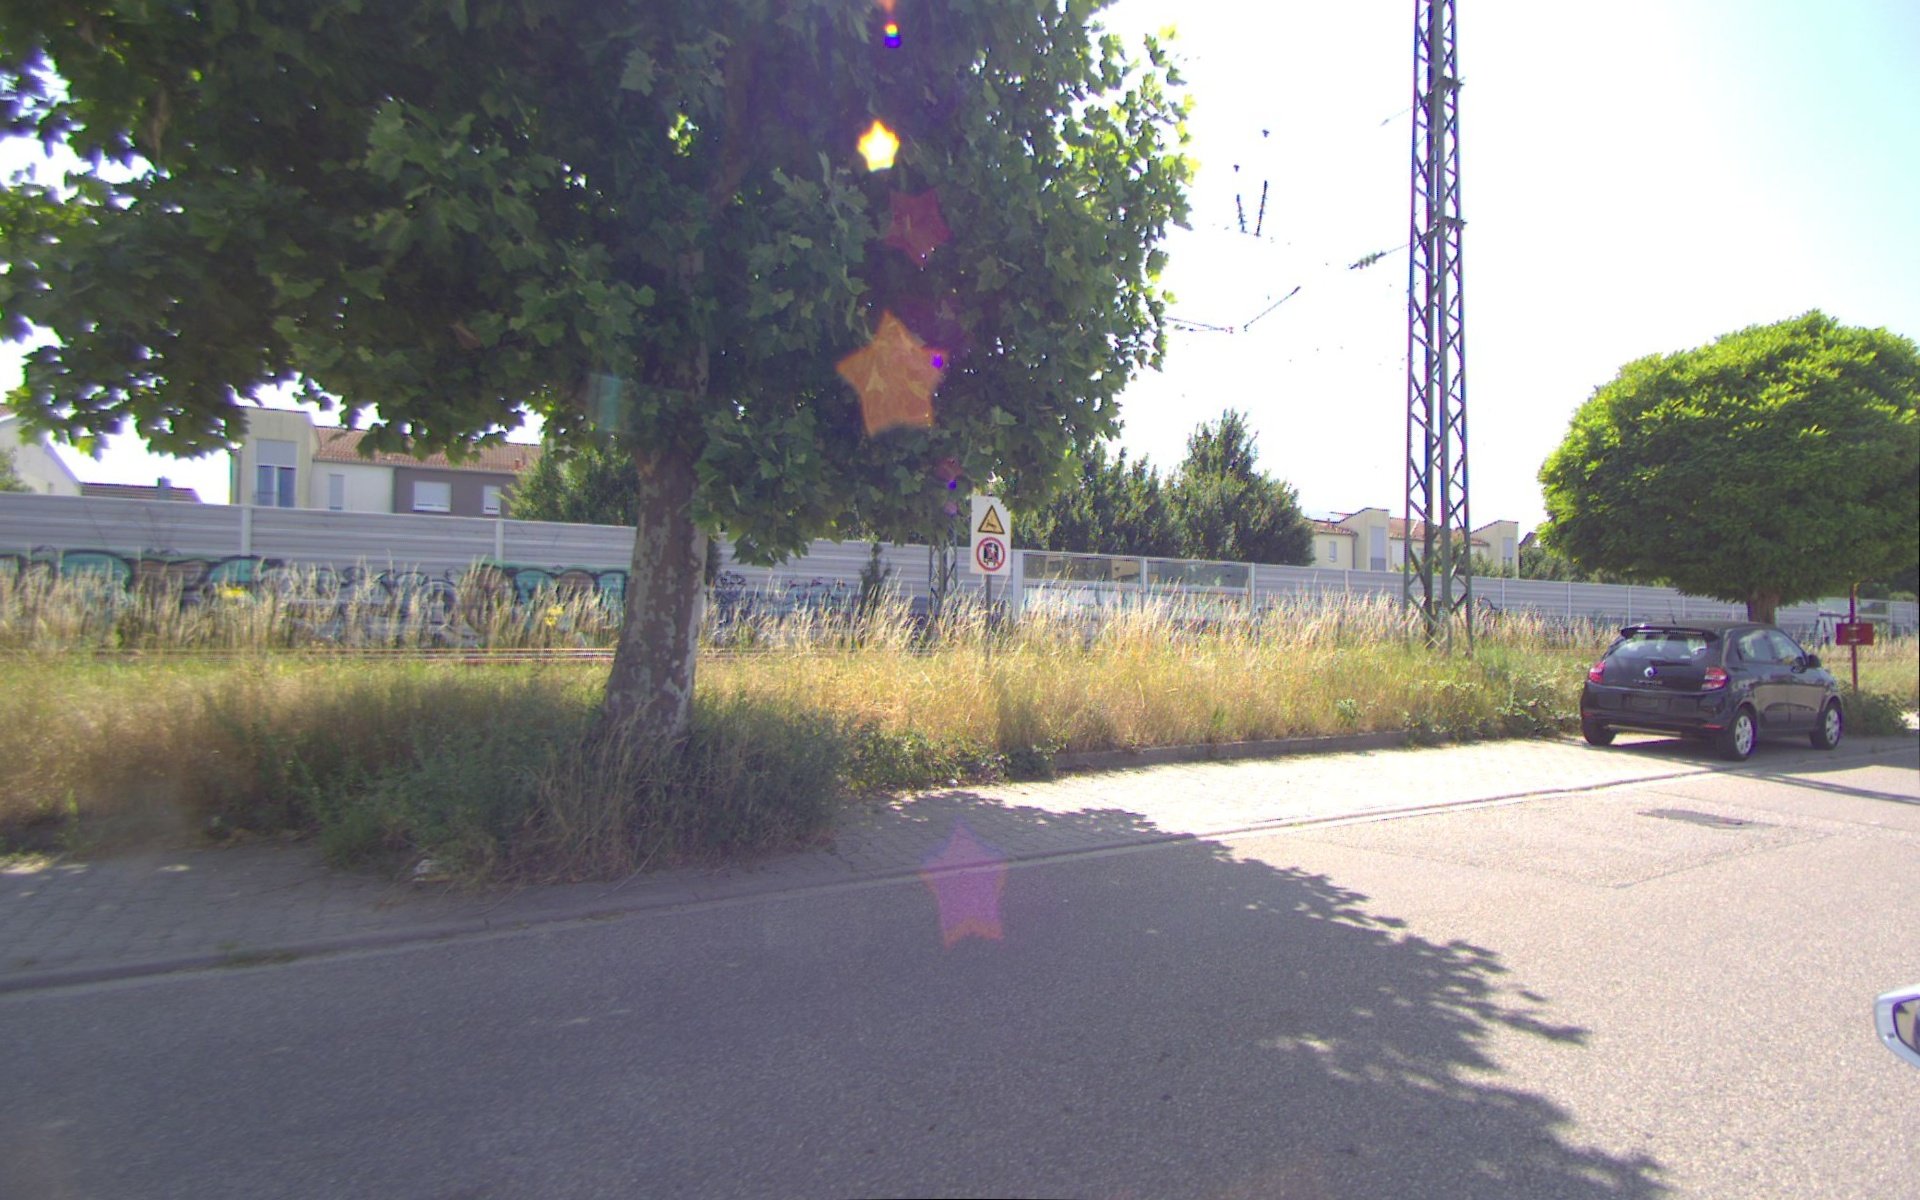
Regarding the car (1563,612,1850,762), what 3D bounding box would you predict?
[{"bbox_3d":[9.350,0.987,12.536,3.539,1.617,1.732,1,-1,-32],"label":"car"}]
